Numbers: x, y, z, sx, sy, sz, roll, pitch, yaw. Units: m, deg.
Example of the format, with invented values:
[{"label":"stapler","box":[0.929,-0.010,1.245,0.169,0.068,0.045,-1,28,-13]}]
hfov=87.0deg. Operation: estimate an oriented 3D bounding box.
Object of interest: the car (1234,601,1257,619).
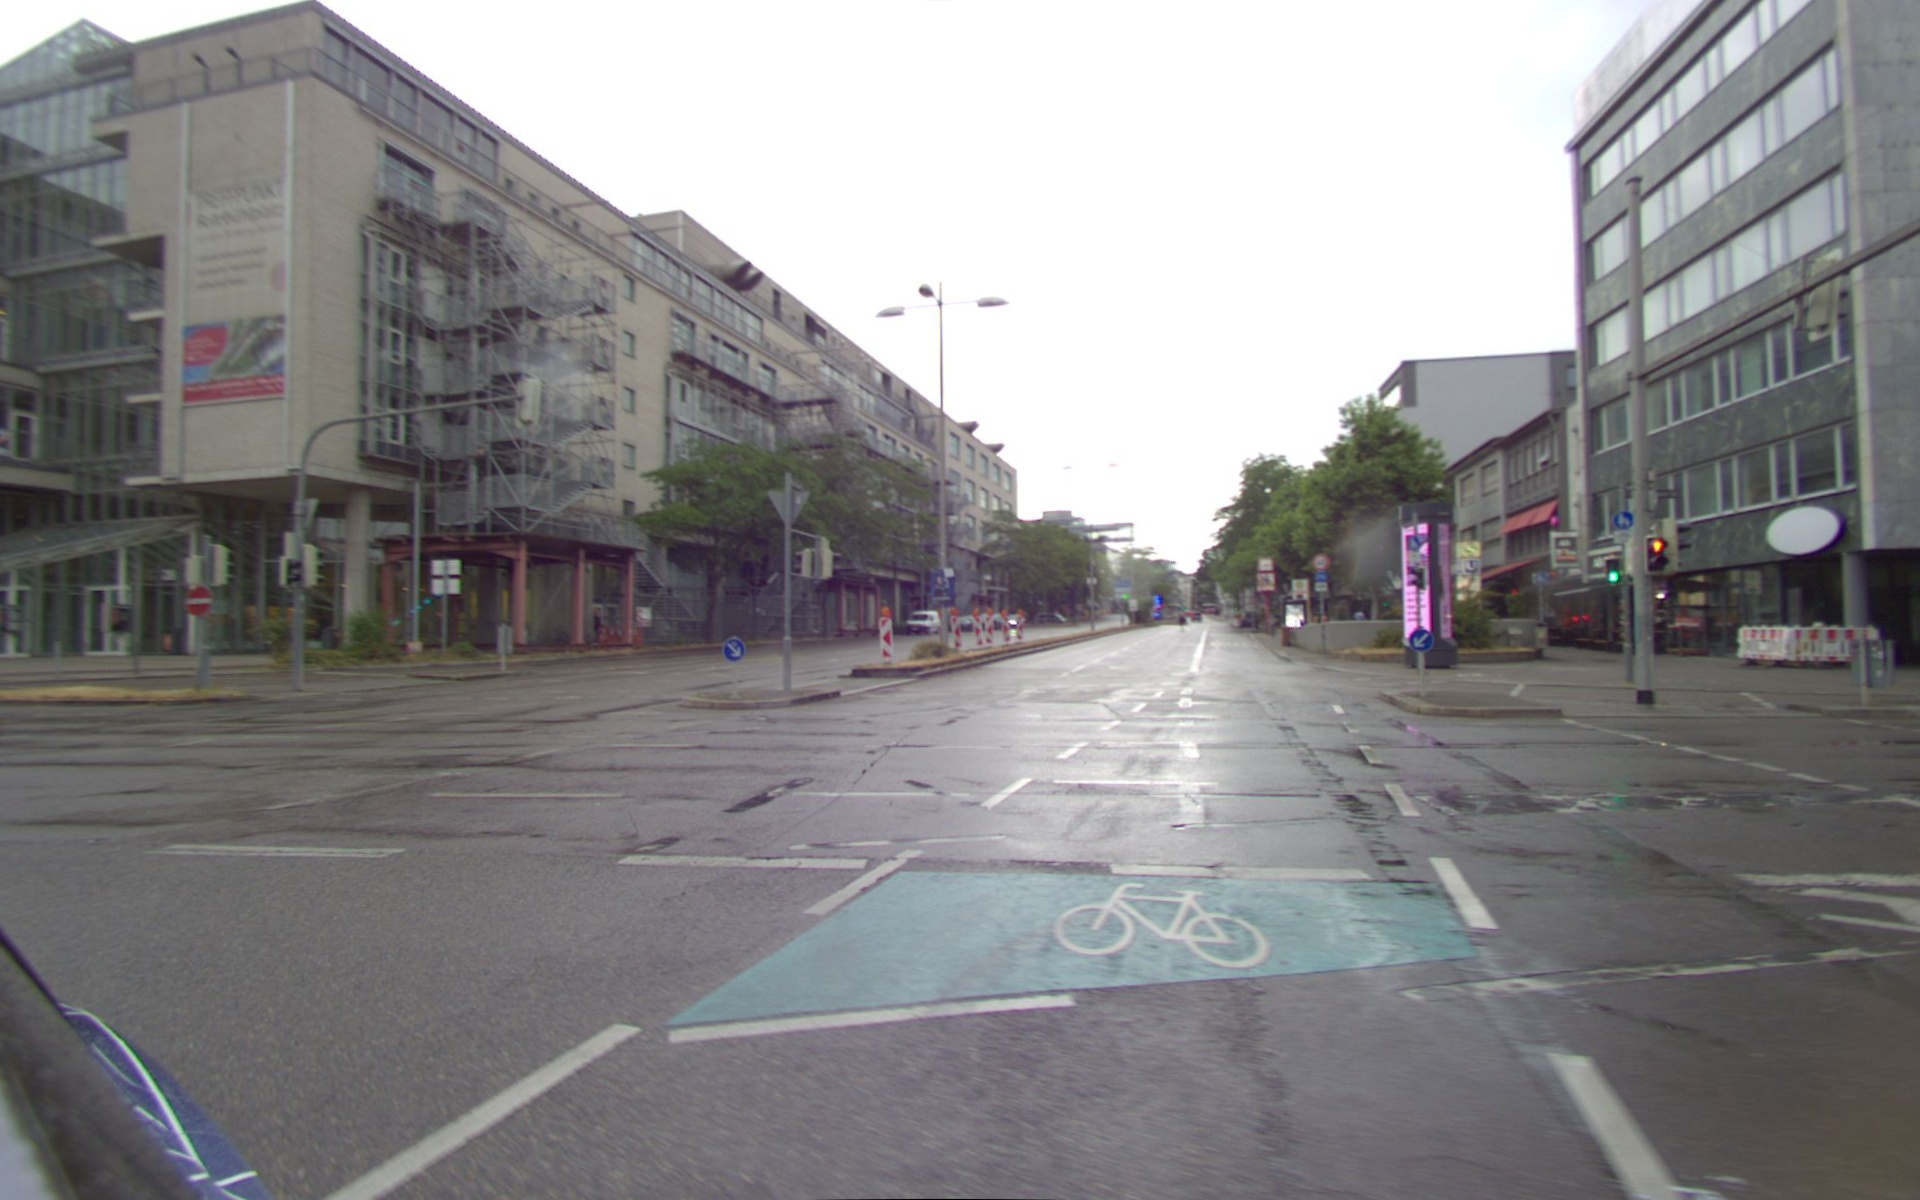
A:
[{"label":"car","box":[28.600,0.962,101.358,1.980,1.763,3.983,-1,0,13]}]

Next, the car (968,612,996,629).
[{"label":"car","box":[2.077,1.860,94.394,1.741,1.522,4.319,-1,0,13]}]

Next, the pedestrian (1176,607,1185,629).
[{"label":"pedestrian","box":[19.718,1.606,90.419,0.611,2.029,0.688,-1,-1,22]}]

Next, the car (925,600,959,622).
[{"label":"car","box":[-1.547,0.967,88.459,1.980,1.807,4.319,-1,0,13]}]

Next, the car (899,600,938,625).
[{"label":"car","box":[-3.135,0.959,77.192,1.980,1.807,4.319,-1,0,13]}]
